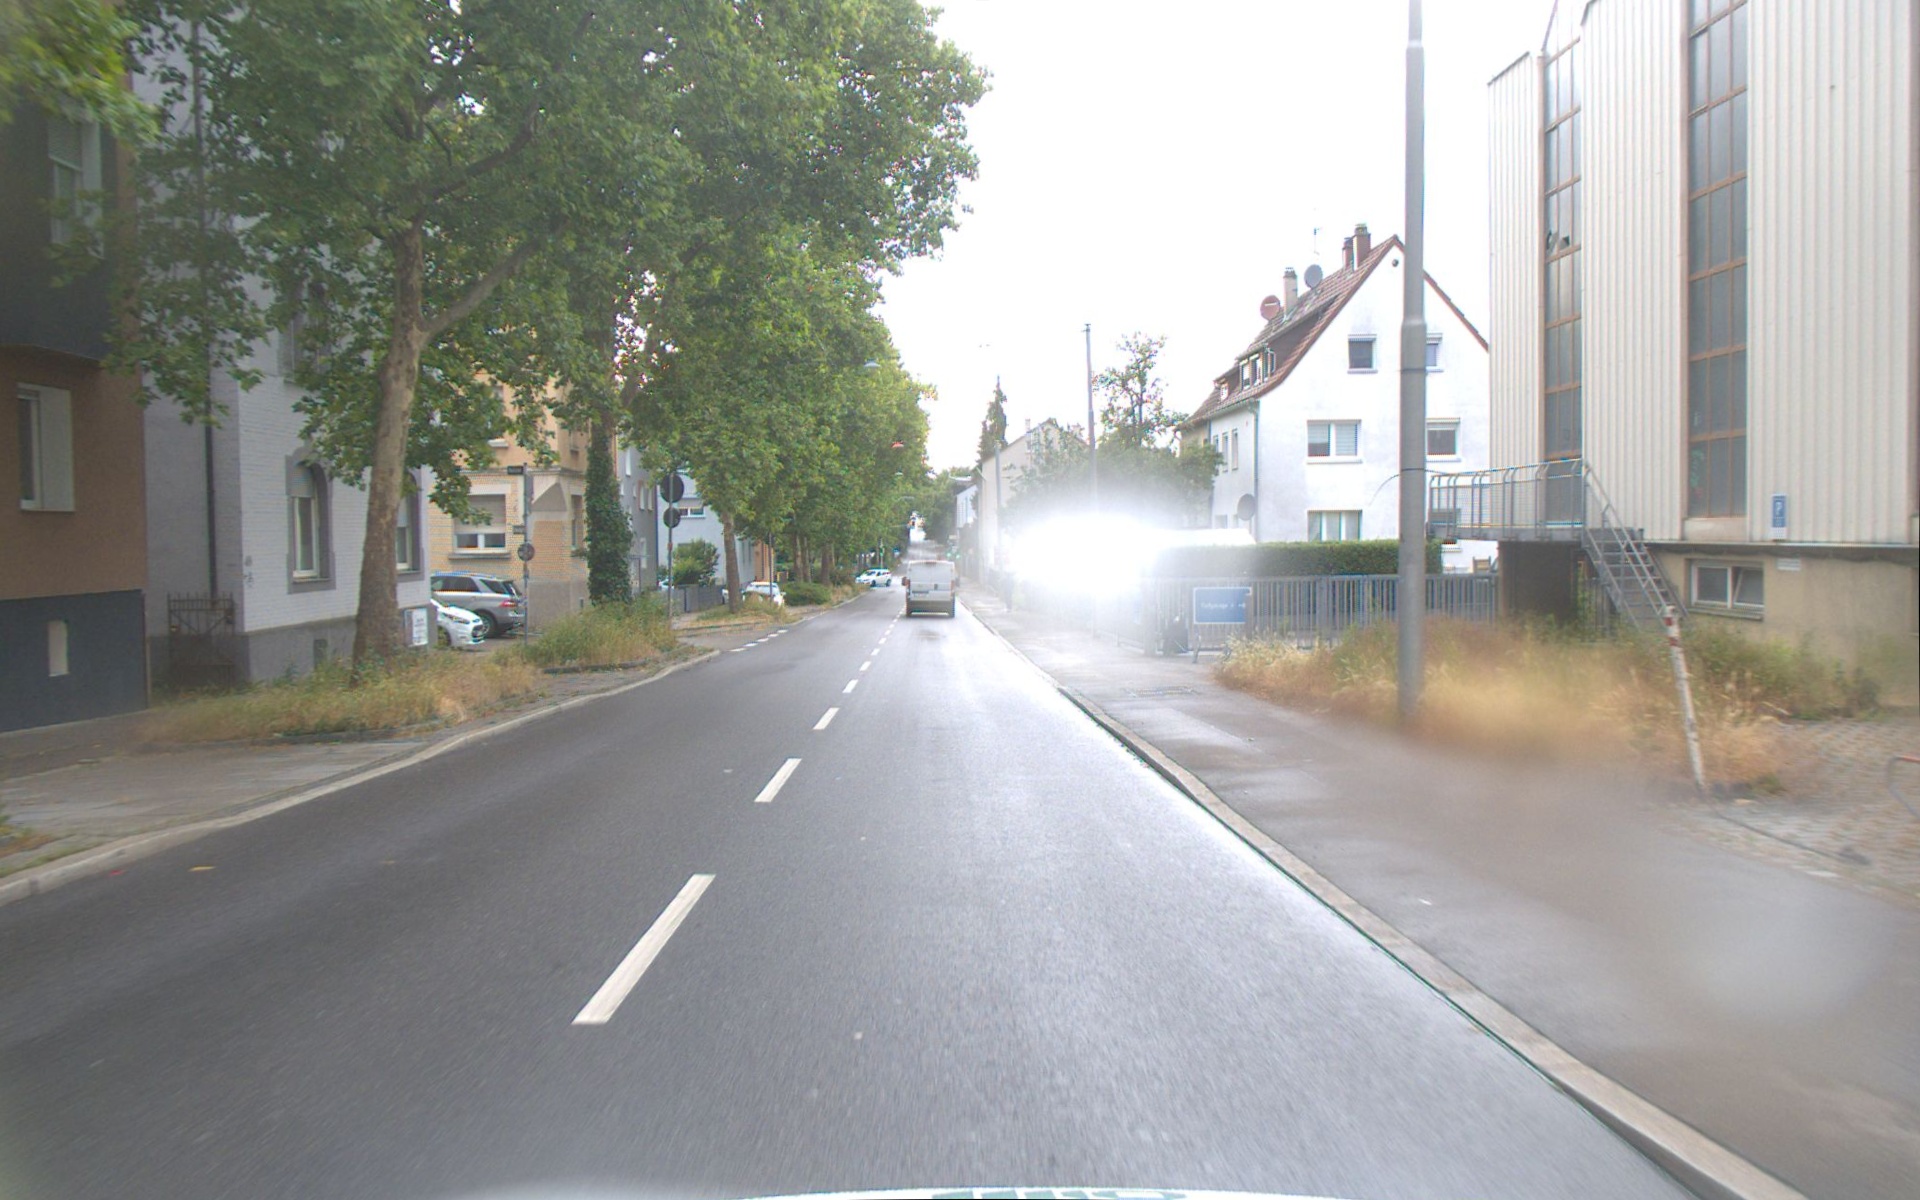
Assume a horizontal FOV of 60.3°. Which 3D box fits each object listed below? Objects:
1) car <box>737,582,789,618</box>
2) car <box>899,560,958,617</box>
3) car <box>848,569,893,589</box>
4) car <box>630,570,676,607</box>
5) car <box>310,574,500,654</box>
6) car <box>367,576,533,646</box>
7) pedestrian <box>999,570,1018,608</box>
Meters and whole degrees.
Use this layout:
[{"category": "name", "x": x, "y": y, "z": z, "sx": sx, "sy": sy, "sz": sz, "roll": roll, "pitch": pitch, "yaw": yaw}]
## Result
[{"category": "car", "x": -8.299, "y": -0.023, "z": 69.853, "sx": 1.954, "sy": 1.477, "sz": 4.207, "roll": -1, "pitch": 0, "yaw": -4}, {"category": "car", "x": -1.344, "y": -0.515, "z": 68.509, "sx": 2.300, "sy": 2.197, "sz": 4.776, "roll": -1, "pitch": 2, "yaw": -3}, {"category": "car", "x": -7.964, "y": -1.899, "z": 148.014, "sx": 1.958, "sy": 1.739, "sz": 4.248, "roll": 0, "pitch": 0, "yaw": 33}, {"category": "car", "x": -16.959, "y": -0.682, "z": 91.447, "sx": 1.837, "sy": 1.927, "sz": 4.000, "roll": -1, "pitch": 2, "yaw": -1}, {"category": "car", "x": -13.977, "y": 0.332, "z": 41.817, "sx": 4.112, "sy": 1.925, "sz": 1.999, "roll": -1, "pitch": 0, "yaw": -2}, {"category": "car", "x": -14.524, "y": 0.296, "z": 47.292, "sx": 4.112, "sy": 1.925, "sz": 1.999, "roll": -1, "pitch": 0, "yaw": -2}, {"category": "pedestrian", "x": 2.191, "y": -0.495, "z": 74.437, "sx": 0.799, "sy": 1.728, "sz": 0.729, "roll": 0, "pitch": 0, "yaw": -2}]
